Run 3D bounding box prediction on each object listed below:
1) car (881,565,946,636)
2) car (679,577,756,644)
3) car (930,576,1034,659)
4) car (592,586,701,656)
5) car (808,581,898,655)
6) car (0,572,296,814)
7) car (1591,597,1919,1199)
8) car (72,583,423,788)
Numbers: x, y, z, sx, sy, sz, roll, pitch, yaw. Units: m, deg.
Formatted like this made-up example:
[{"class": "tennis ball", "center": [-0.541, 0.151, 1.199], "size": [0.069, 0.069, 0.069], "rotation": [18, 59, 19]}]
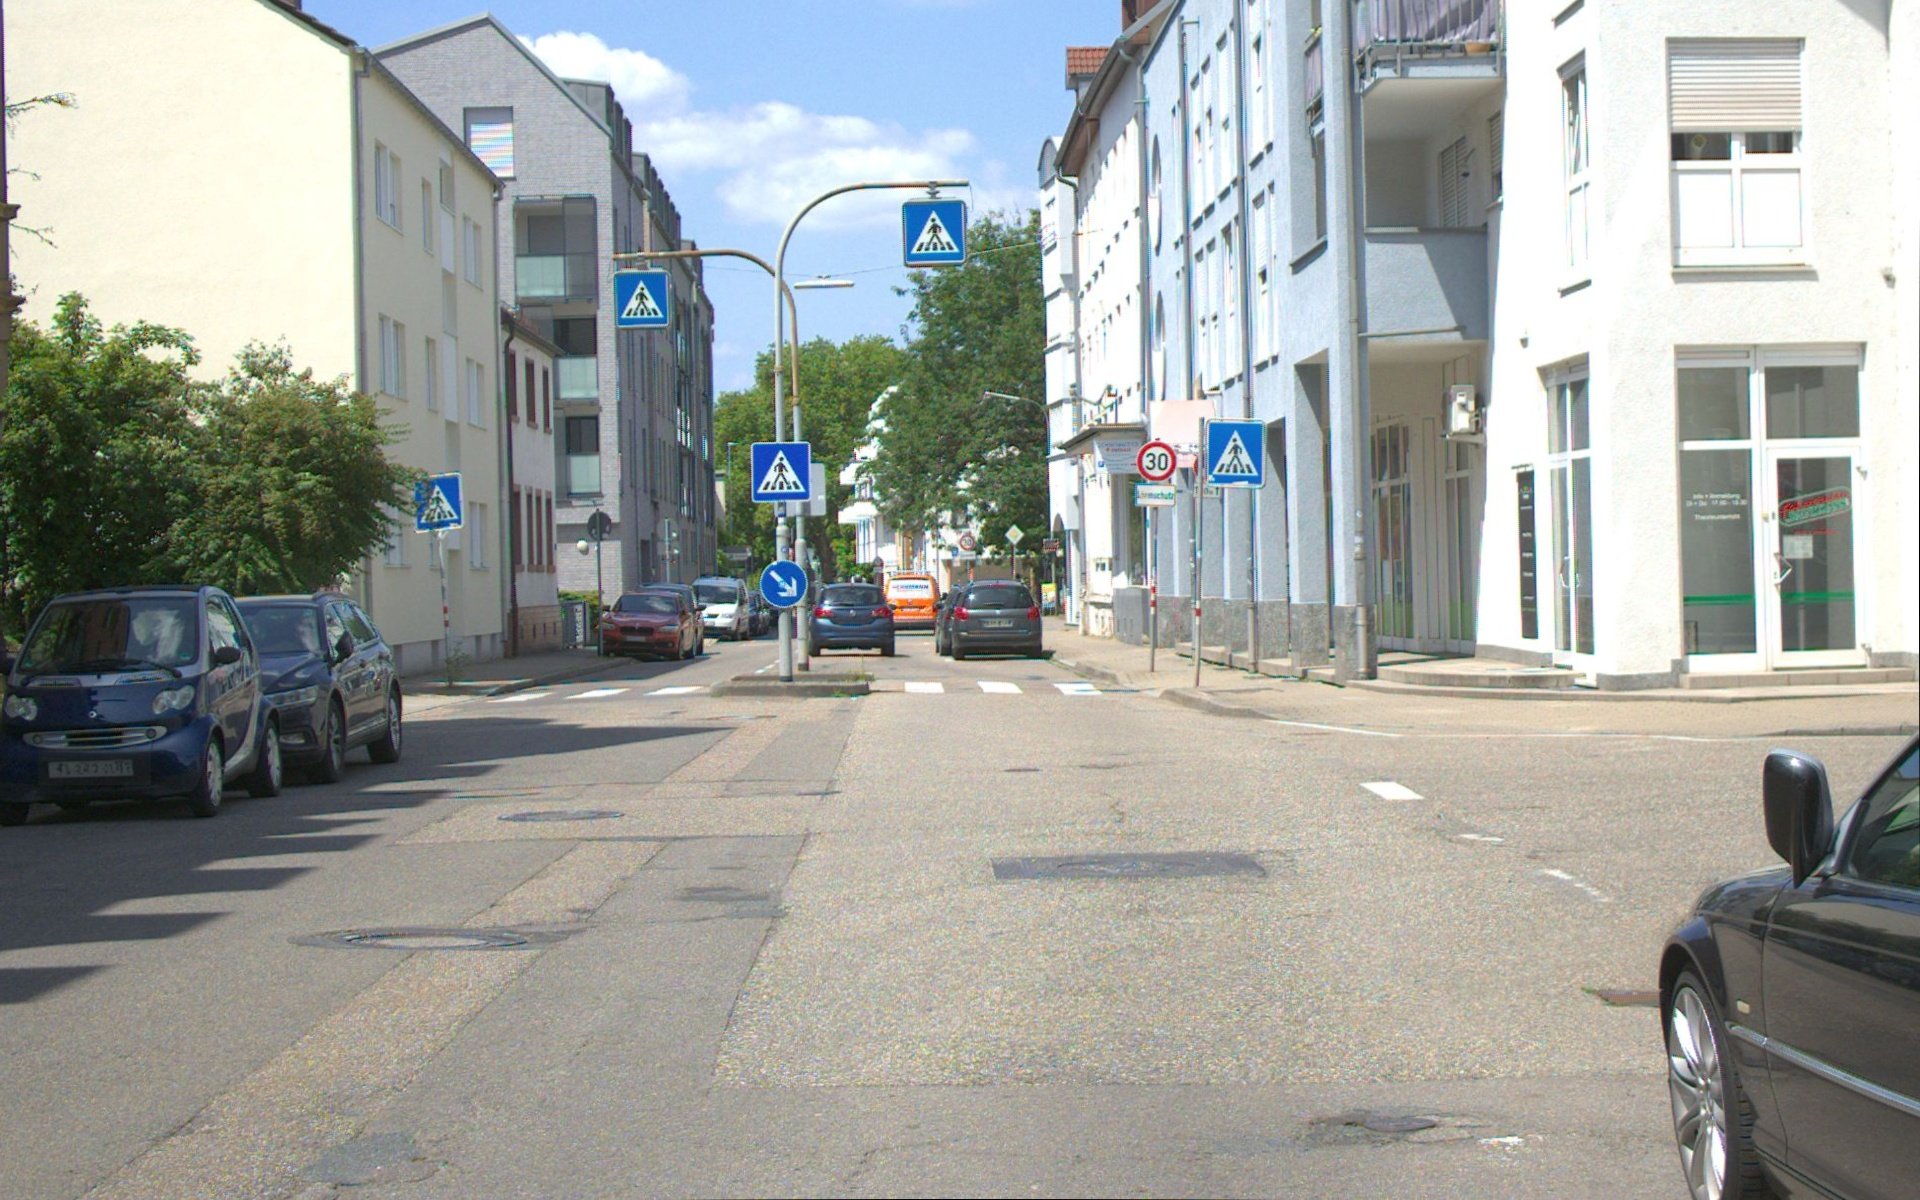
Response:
[{"class": "car", "center": [-1.382, -0.004, 101.999], "size": [1.839, 2.007, 4.000], "rotation": [-1, 1, -1]}, {"class": "car", "center": [-7.094, 0.273, 100.835], "size": [1.757, 1.885, 4.336], "rotation": [1, 0, 2]}, {"class": "car", "center": [0.392, 0.327, 65.820], "size": [1.709, 1.503, 4.000], "rotation": [-1, 0, -3]}, {"class": "car", "center": [-6.652, 0.428, 73.314], "size": [1.834, 1.412, 4.289], "rotation": [-1, 0, 1]}, {"class": "car", "center": [-2.140, 0.341, 69.438], "size": [1.715, 1.397, 4.000], "rotation": [-1, 1, -1]}, {"class": "car", "center": [-5.523, 0.598, 23.497], "size": [1.436, 1.517, 2.696], "rotation": [-2, 0, -1]}, {"class": "car", "center": [2.428, 0.696, 6.107], "size": [1.656, 1.371, 4.239], "rotation": [-2, 1, -2]}, {"class": "car", "center": [-5.614, 0.625, 27.657], "size": [1.783, 1.453, 4.634], "rotation": [-2, 0, 1]}]
